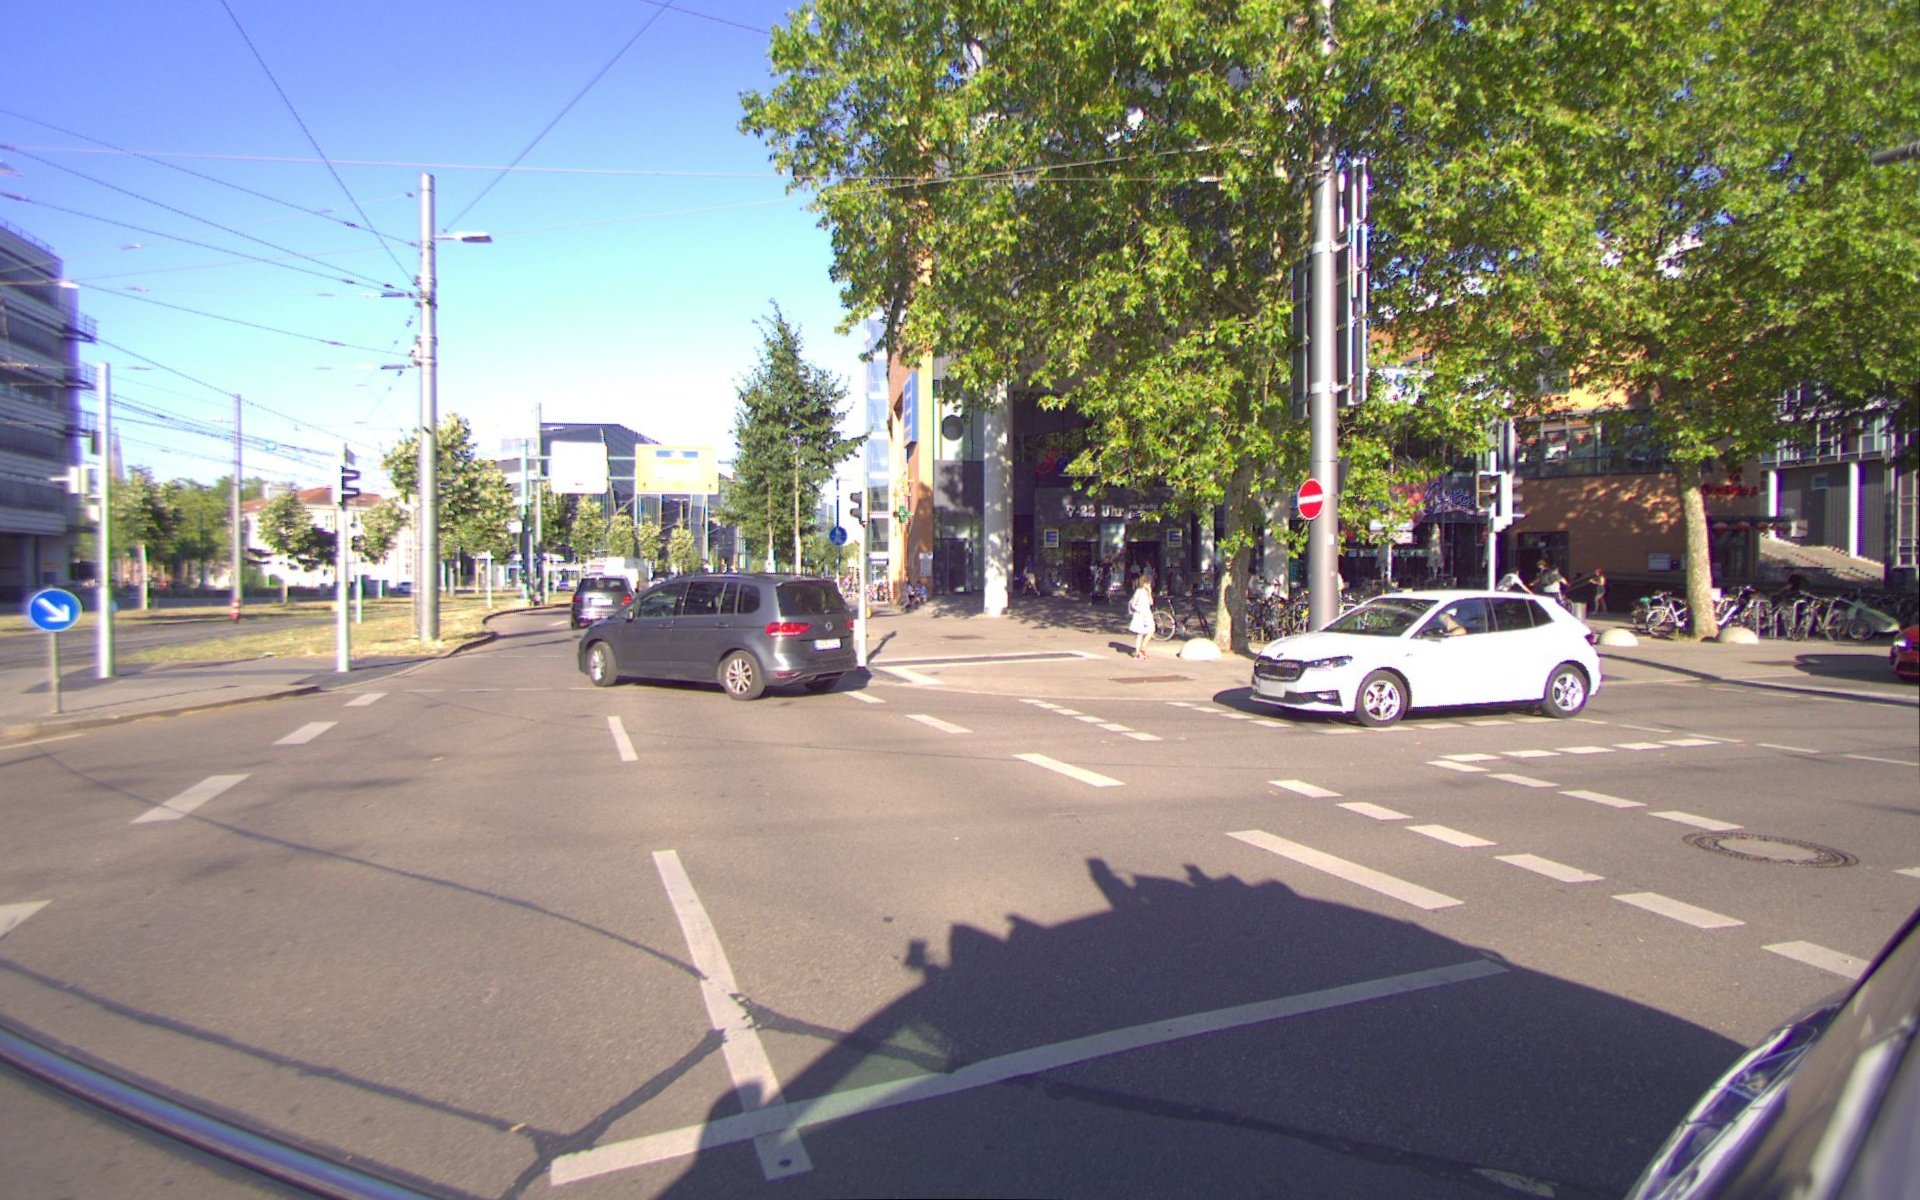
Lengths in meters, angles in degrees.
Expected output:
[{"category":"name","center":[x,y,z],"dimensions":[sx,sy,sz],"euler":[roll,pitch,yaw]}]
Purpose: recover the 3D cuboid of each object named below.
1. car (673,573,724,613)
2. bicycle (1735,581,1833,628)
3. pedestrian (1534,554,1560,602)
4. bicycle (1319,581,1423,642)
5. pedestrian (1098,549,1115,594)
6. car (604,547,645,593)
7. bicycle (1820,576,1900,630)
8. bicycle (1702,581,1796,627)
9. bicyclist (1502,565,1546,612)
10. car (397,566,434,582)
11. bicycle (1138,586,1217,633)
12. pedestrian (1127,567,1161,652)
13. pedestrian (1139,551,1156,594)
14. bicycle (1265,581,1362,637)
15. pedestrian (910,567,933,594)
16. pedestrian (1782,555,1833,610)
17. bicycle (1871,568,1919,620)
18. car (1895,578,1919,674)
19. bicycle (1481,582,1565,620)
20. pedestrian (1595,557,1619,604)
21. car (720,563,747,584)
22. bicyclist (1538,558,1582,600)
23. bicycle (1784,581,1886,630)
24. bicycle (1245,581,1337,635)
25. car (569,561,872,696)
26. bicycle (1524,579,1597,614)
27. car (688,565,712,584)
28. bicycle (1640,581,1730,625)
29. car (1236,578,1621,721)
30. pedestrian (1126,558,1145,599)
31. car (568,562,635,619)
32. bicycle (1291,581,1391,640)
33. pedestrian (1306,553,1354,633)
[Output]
[{"category":"car","center":[-11.562,-0.357,44.572],"dimensions":[1.826,1.652,4.273],"euler":[0,1,-19]},{"category":"bicycle","center":[19.600,0.100,24.080],"dimensions":[1.906,1.077,0.785],"euler":[0,1,-13]},{"category":"pedestrian","center":[20.928,-0.791,36.073],"dimensions":[0.560,1.690,0.544],"euler":[0,1,1]},{"category":"bicycle","center":[8.051,0.205,19.844],"dimensions":[1.805,1.143,0.777],"euler":[0,2,-18]},{"category":"pedestrian","center":[5.815,-1.139,40.211],"dimensions":[0.585,1.777,0.592],"euler":[1,2,17]},{"category":"car","center":[-19.174,-1.688,58.045],"dimensions":[1.958,2.511,5.987],"euler":[0,1,-15]},{"category":"bicycle","center":[22.253,0.027,25.094],"dimensions":[0.777,1.204,3.520],"euler":[1,2,30]},{"category":"bicycle","center":[19.409,0.085,24.914],"dimensions":[1.906,1.077,0.785],"euler":[0,1,-13]},{"category":"bicyclist","center":[16.449,-0.350,29.531],"dimensions":[0.944,1.361,0.672],"euler":[1,2,14]},{"category":"car","center":[-67.400,-3.228,125.234],"dimensions":[3.922,1.883,2.001],"euler":[-1,2,-33]},{"category":"bicycle","center":[4.975,0.216,23.166],"dimensions":[1.664,1.049,0.550],"euler":[0,1,-14]},{"category":"pedestrian","center":[3.432,0.159,18.843],"dimensions":[0.565,1.557,0.482],"euler":[1,1,17]},{"category":"pedestrian","center":[7.438,-1.100,40.069],"dimensions":[0.585,1.677,0.592],"euler":[0,1,4]},{"category":"bicycle","center":[7.487,0.178,21.448],"dimensions":[1.805,1.143,0.777],"euler":[0,2,-18]},{"category":"pedestrian","center":[-1.615,-0.821,42.168],"dimensions":[0.761,1.094,0.683],"euler":[0,2,-25]},{"category":"pedestrian","center":[24.597,-0.526,29.387],"dimensions":[0.857,1.561,0.768],"euler":[0,2,-19]},{"category":"bicycle","center":[23.372,-0.186,24.843],"dimensions":[0.777,1.204,3.520],"euler":[1,2,30]},{"category":"car","center":[16.405,0.389,15.243],"dimensions":[3.916,1.446,1.696],"euler":[0,1,-18]},{"category":"bicycle","center":[16.415,0.017,29.545],"dimensions":[1.984,1.080,0.693],"euler":[1,2,13]},{"category":"pedestrian","center":[23.105,-0.702,36.129],"dimensions":[0.536,1.690,0.568],"euler":[1,2,16]},{"category":"car","center":[-22.798,-2.716,101.847],"dimensions":[1.583,2.038,3.883],"euler":[0,2,4]},{"category":"bicyclist","center":[18.895,-0.675,31.888],"dimensions":[0.939,1.315,0.676],"euler":[0,2,-7]},{"category":"bicycle","center":[20.008,0.116,23.151],"dimensions":[1.906,1.077,0.785],"euler":[0,1,-13]},{"category":"bicycle","center":[7.272,0.164,22.257],"dimensions":[1.805,1.143,0.777],"euler":[0,2,-18]},{"category":"car","center":[-3.372,0.305,14.013],"dimensions":[4.141,1.623,1.601],"euler":[1,1,31]},{"category":"bicycle","center":[18.915,-0.118,31.898],"dimensions":[1.973,1.080,0.697],"euler":[0,2,-8]},{"category":"car","center":[-23.139,-2.327,90.281],"dimensions":[1.638,1.660,4.007],"euler":[0,2,-8]},{"category":"bicycle","center":[18.519,0.070,25.876],"dimensions":[1.906,1.077,0.785],"euler":[0,1,-13]},{"category":"car","center":[5.388,0.482,11.743],"dimensions":[3.916,1.470,1.640],"euler":[0,1,-15]},{"category":"pedestrian","center":[7.390,-0.910,42.540],"dimensions":[0.559,1.677,0.584],"euler":[2,2,42]},{"category":"car","center":[-11.037,-0.325,31.303],"dimensions":[1.826,1.652,4.273],"euler":[0,1,-18]},{"category":"bicycle","center":[7.765,0.192,20.639],"dimensions":[1.805,1.143,0.777],"euler":[0,2,-18]},{"category":"pedestrian","center":[8.390,-0.156,22.995],"dimensions":[0.878,1.787,0.729],"euler":[0,0,7]}]
